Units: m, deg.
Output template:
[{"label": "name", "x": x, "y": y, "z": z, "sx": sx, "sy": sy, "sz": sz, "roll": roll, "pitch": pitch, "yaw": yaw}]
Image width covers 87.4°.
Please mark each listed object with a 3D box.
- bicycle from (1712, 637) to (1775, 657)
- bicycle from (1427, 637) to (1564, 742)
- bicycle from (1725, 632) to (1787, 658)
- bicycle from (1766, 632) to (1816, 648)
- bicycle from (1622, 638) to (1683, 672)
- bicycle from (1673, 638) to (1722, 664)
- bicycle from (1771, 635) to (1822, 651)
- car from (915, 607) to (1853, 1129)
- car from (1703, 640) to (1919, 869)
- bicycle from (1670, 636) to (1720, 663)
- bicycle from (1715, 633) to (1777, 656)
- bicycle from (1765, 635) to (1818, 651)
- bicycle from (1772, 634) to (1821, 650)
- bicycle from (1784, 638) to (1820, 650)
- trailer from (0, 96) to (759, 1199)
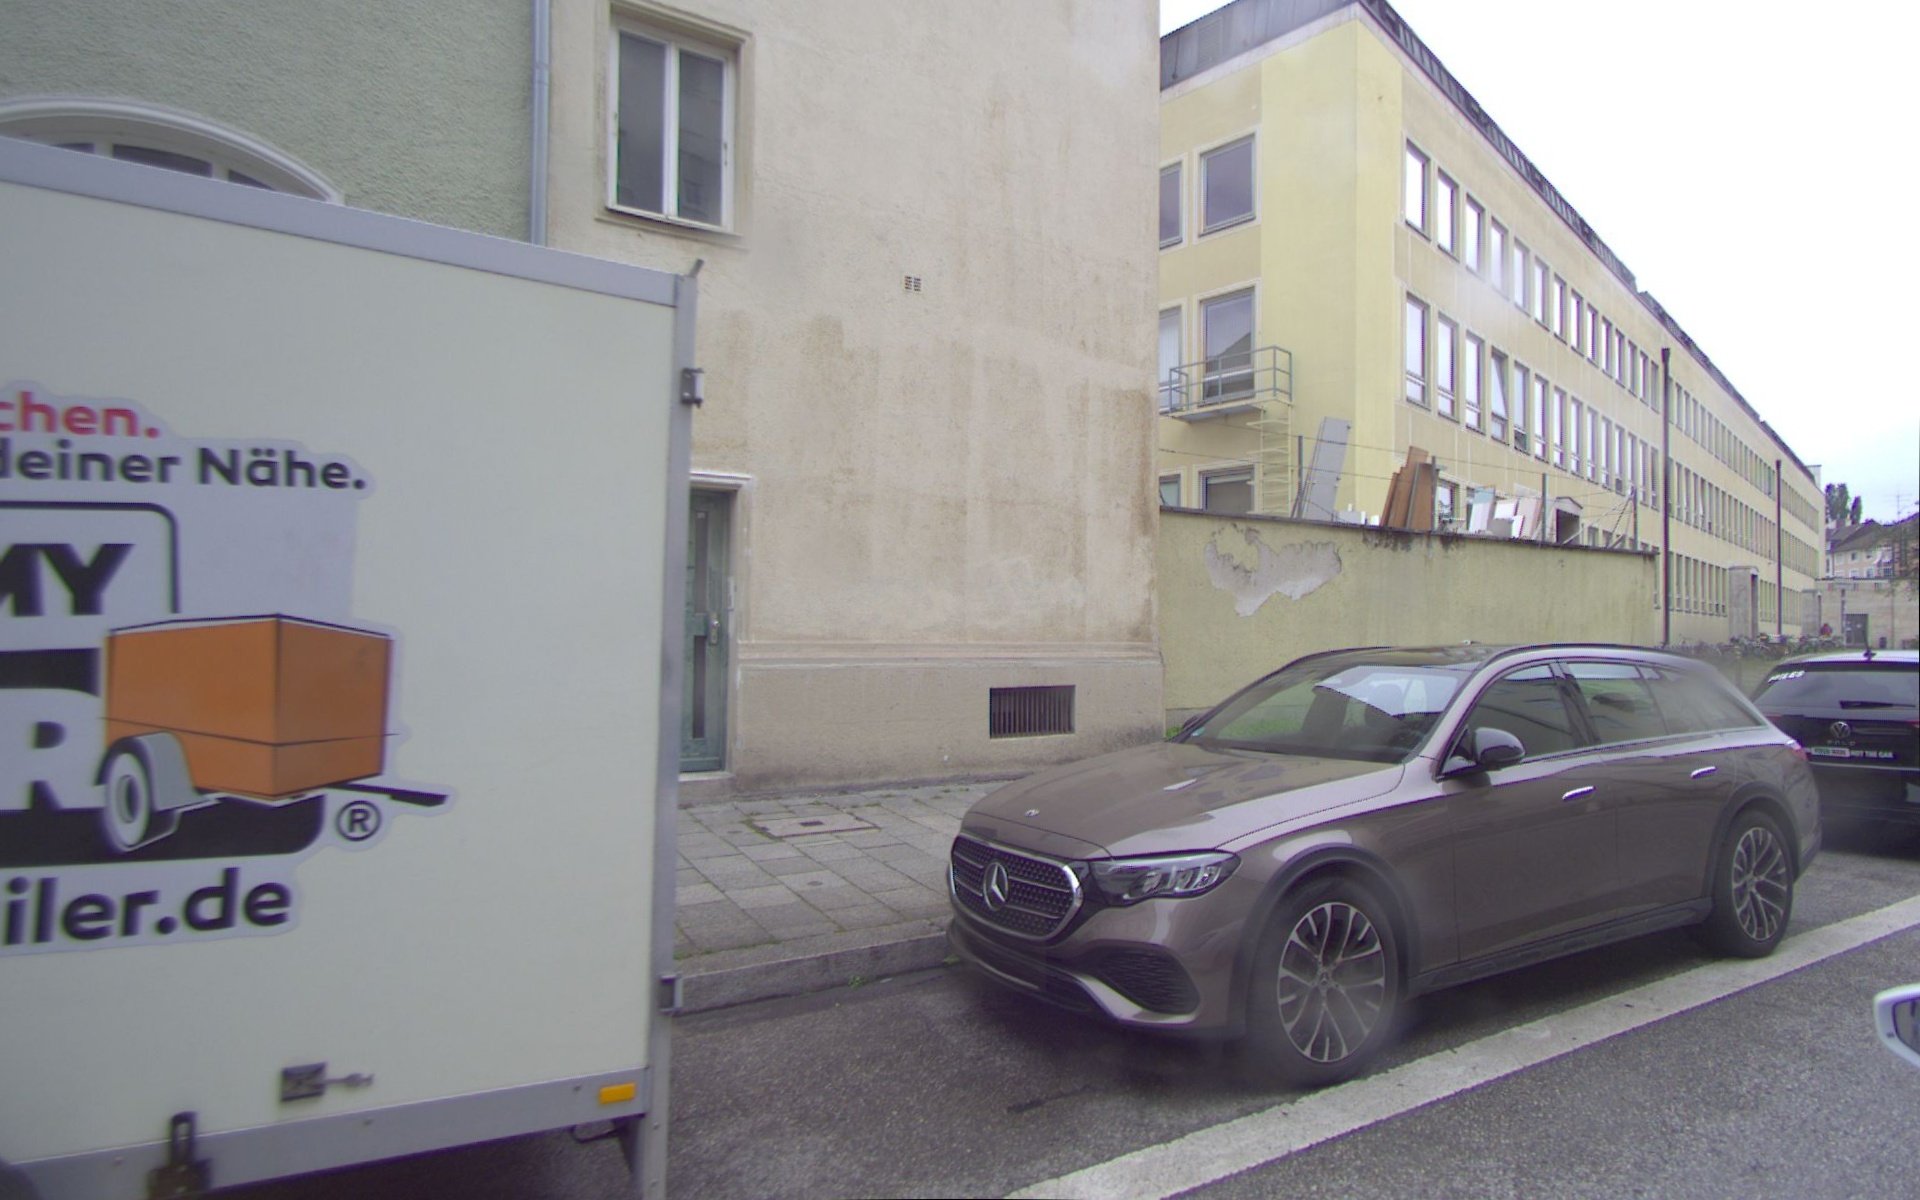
[{"label": "bicycle", "x": 34.388, "y": 2.065, "z": 44.104, "sx": 2.180, "sy": 0.846, "sz": 0.492, "roll": -1, "pitch": -3, "yaw": 42}, {"label": "bicycle", "x": 6.710, "y": 1.083, "z": 12.568, "sx": 1.755, "sy": 1.208, "sz": 0.674, "roll": 1, "pitch": -1, "yaw": -29}, {"label": "bicycle", "x": 37.808, "y": 2.124, "z": 47.706, "sx": 2.223, "sy": 1.184, "sz": 1.041, "roll": -1, "pitch": -1, "yaw": 45}, {"label": "bicycle", "x": 47.397, "y": 2.294, "z": 57.308, "sx": 2.180, "sy": 0.907, "sz": 0.644, "roll": -1, "pitch": -3, "yaw": 42}, {"label": "bicycle", "x": 21.163, "y": 1.664, "z": 30.716, "sx": 1.511, "sy": 0.967, "sz": 0.364, "roll": 0, "pitch": -1, "yaw": 44}, {"label": "bicycle", "x": 28.730, "y": 1.962, "z": 39.136, "sx": 1.511, "sy": 0.967, "sz": 0.364, "roll": 0, "pitch": -1, "yaw": 44}, {"label": "bicycle", "x": 45.907, "y": 2.361, "z": 55.141, "sx": 2.095, "sy": 0.846, "sz": 0.644, "roll": -1, "pitch": -3, "yaw": 42}, {"label": "car", "x": 2.171, "y": 0.908, "z": 4.880, "sx": 4.484, "sy": 1.558, "sz": 1.760, "roll": 2, "pitch": -4, "yaw": -28}, {"label": "car", "x": 7.810, "y": 1.096, "z": 8.134, "sx": 3.783, "sy": 1.465, "sz": 1.691, "roll": 1, "pitch": -1, "yaw": -33}, {"label": "bicycle", "x": 27.713, "y": 1.870, "z": 37.878, "sx": 1.511, "sy": 0.967, "sz": 0.364, "roll": 0, "pitch": -1, "yaw": 44}, {"label": "bicycle", "x": 35.891, "y": 2.033, "z": 45.895, "sx": 2.180, "sy": 1.051, "sz": 0.492, "roll": -1, "pitch": -3, "yaw": 42}, {"label": "bicycle", "x": 45.261, "y": 2.335, "z": 54.682, "sx": 2.180, "sy": 0.846, "sz": 0.492, "roll": -1, "pitch": -3, "yaw": 42}, {"label": "bicycle", "x": 46.455, "y": 2.326, "z": 55.791, "sx": 2.095, "sy": 0.846, "sz": 0.644, "roll": -1, "pitch": -3, "yaw": 42}, {"label": "bicycle", "x": 52.815, "y": 2.774, "z": 63.017, "sx": 1.718, "sy": 0.724, "sz": 0.611, "roll": -1, "pitch": -3, "yaw": 42}, {"label": "trailer", "x": -2.768, "y": 0.394, "z": 2.090, "sx": 4.331, "sy": 2.493, "sz": 1.703, "roll": 1, "pitch": -4, "yaw": -28}]
